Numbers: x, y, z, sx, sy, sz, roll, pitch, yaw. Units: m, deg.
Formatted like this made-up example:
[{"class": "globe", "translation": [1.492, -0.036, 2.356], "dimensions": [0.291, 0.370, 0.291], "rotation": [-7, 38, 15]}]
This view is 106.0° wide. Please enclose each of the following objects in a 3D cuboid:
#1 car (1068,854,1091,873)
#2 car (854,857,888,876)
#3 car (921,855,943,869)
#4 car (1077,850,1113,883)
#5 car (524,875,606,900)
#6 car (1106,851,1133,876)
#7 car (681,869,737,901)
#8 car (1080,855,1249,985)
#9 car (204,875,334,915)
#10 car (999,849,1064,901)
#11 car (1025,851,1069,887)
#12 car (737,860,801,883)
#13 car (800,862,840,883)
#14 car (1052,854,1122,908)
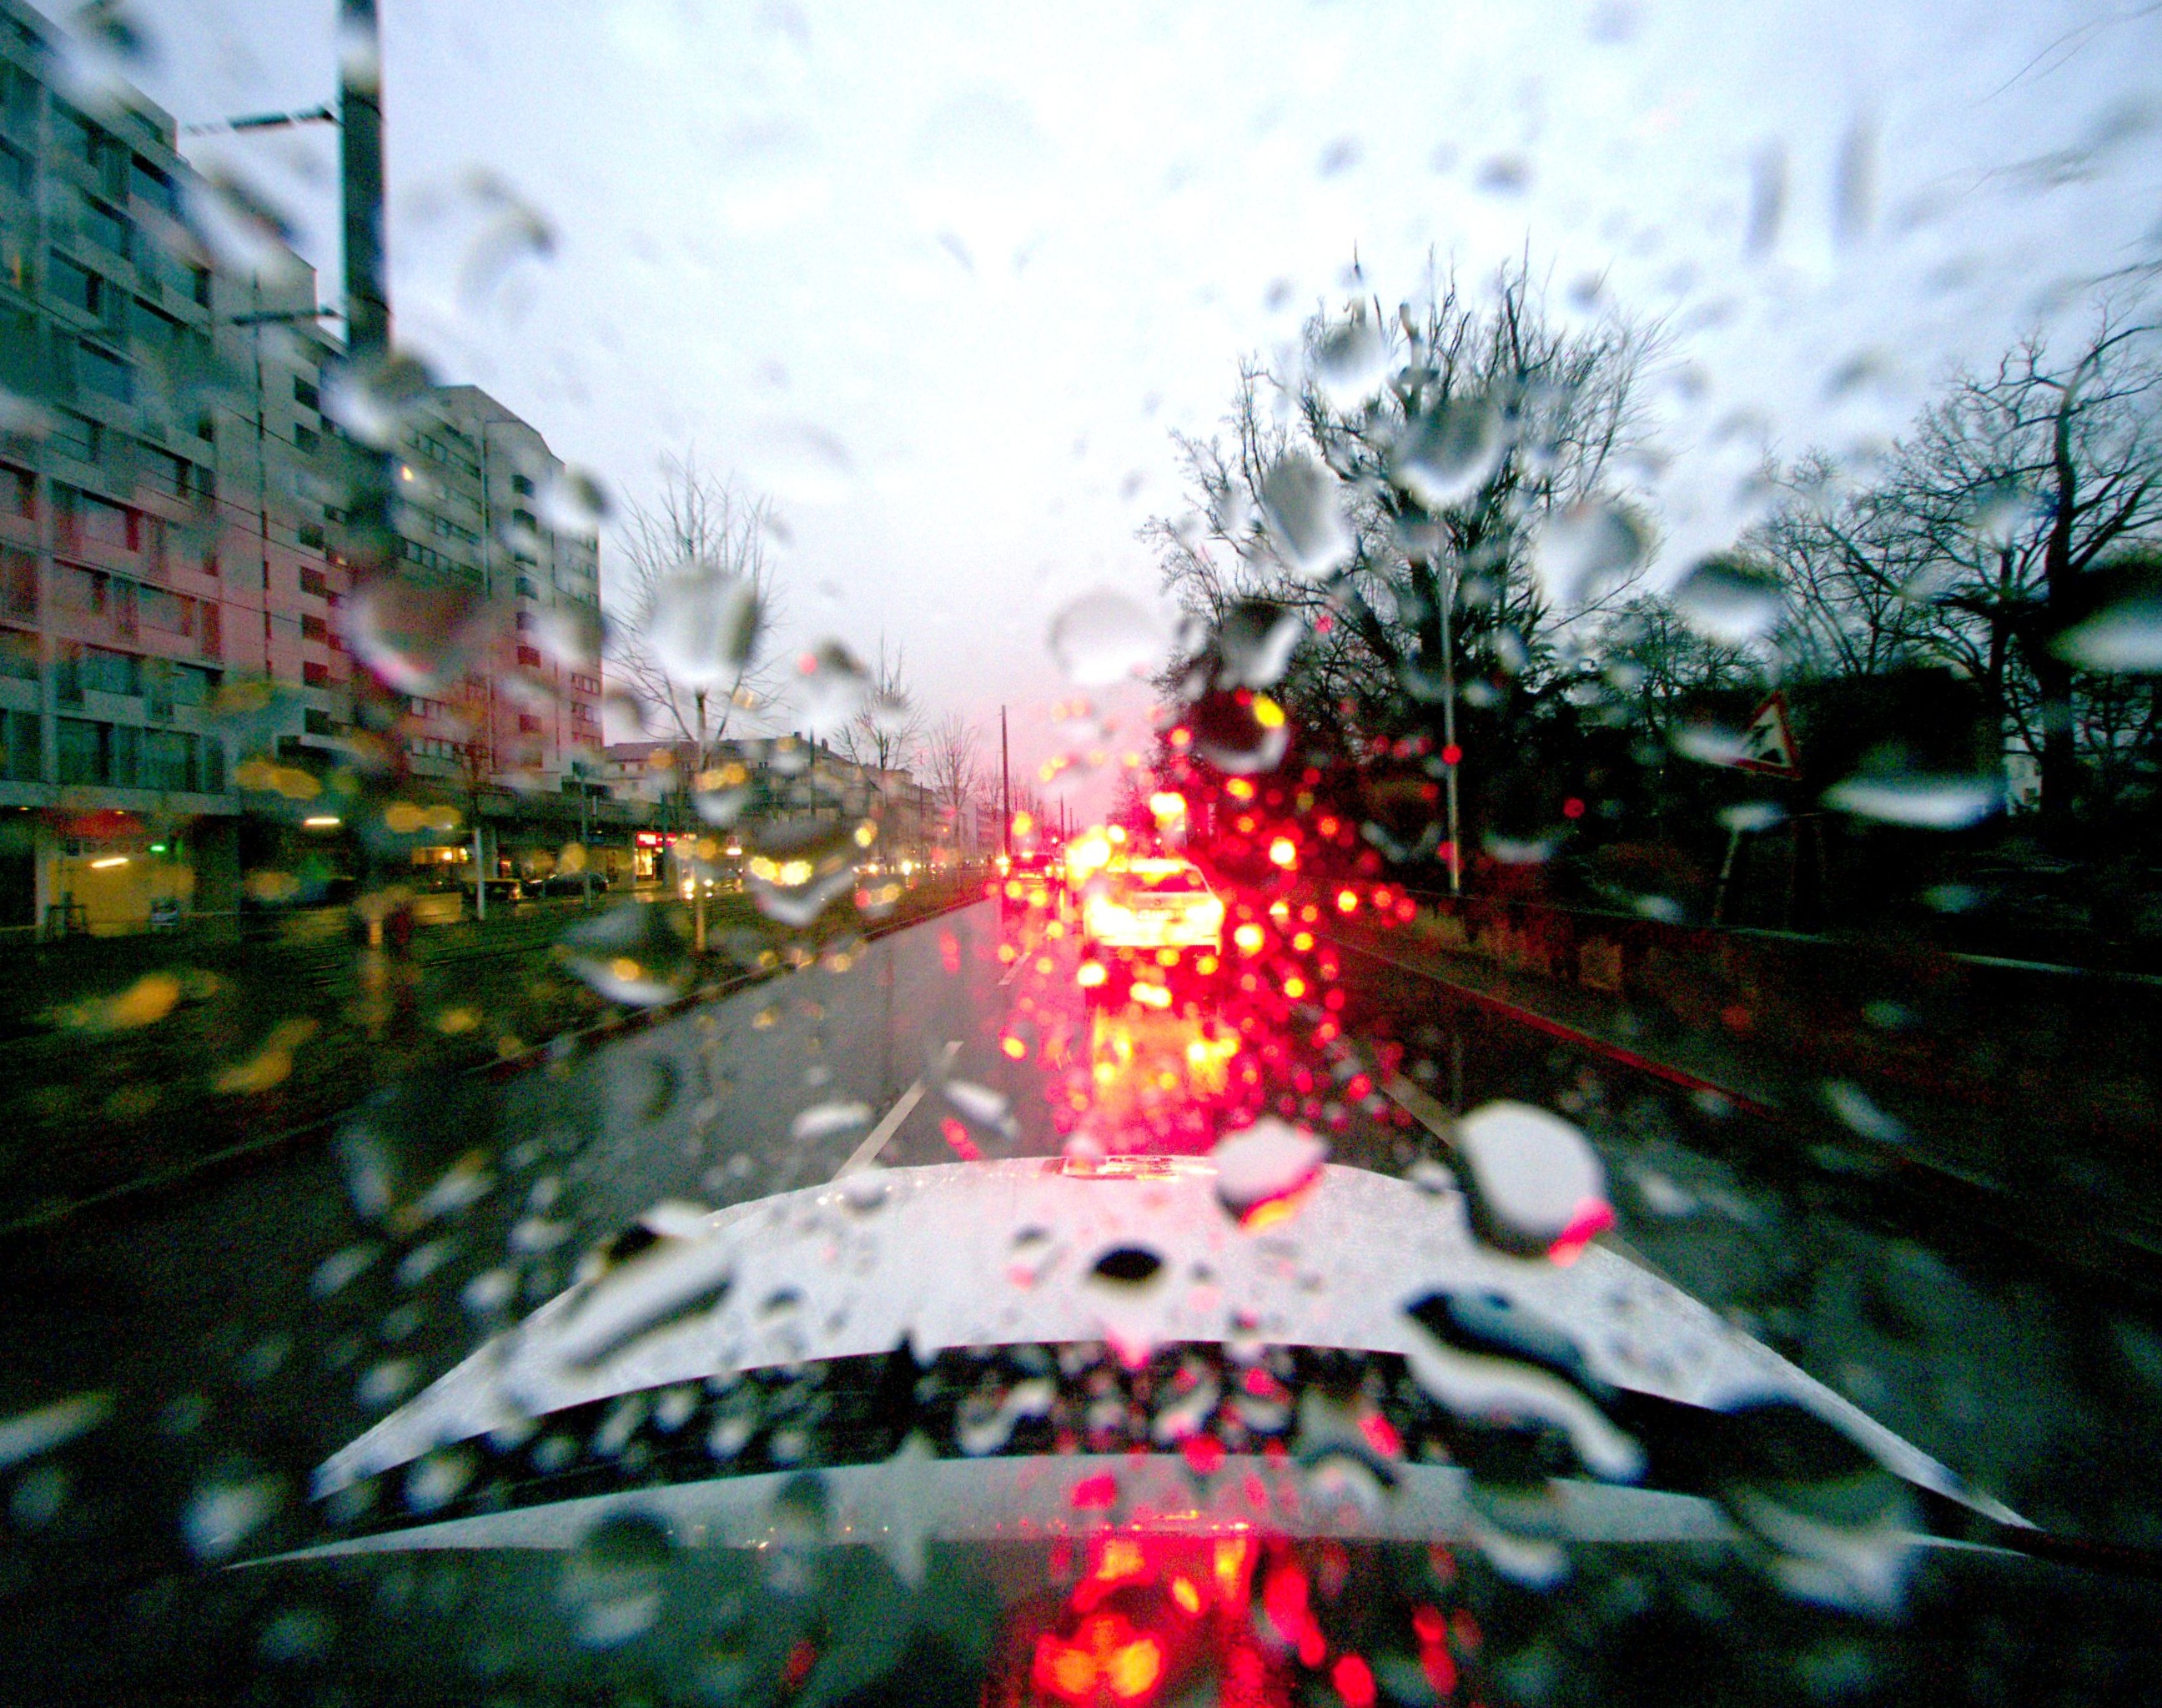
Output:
[{"class": "car", "translation": [-0.105, 0.801, 71.403], "dimensions": [1.799, 1.646, 4.002], "rotation": [-1, 0, 2]}, {"class": "car", "translation": [-19.831, 1.163, 77.086], "dimensions": [1.890, 1.719, 5.116], "rotation": [-2, 0, -1]}, {"class": "car", "translation": [-19.796, 1.053, 108.528], "dimensions": [1.889, 1.719, 4.917], "rotation": [-1, 0, 1]}, {"class": "car", "translation": [0.776, 0.635, 43.339], "dimensions": [1.799, 1.646, 4.002], "rotation": [-1, 0, 2]}, {"class": "car", "translation": [-30.449, 1.958, 48.145], "dimensions": [4.015, 1.387, 1.917], "rotation": [1, -1, -33]}, {"class": "car", "translation": [2.620, 0.629, 55.982], "dimensions": [1.799, 1.646, 4.002], "rotation": [-1, 0, 2]}, {"class": "car", "translation": [-24.319, 1.980, 53.350], "dimensions": [1.716, 1.885, 3.928], "rotation": [-2, 0, 2]}, {"class": "car", "translation": [1.072, 0.793, 11.807], "dimensions": [1.991, 1.508, 4.165], "rotation": [-1, 0, 2]}, {"class": "car", "translation": [-38.441, 1.919, 38.628], "dimensions": [4.347, 1.695, 1.728], "rotation": [-2, 0, -1]}, {"class": "car", "translation": [-1.627, 0.653, 27.809], "dimensions": [1.799, 1.646, 4.002], "rotation": [-1, 0, 2]}, {"class": "car", "translation": [-1.700, 0.734, 41.842], "dimensions": [1.986, 1.755, 4.001], "rotation": [0, 0, 1]}, {"class": "car", "translation": [-29.349, 1.631, 76.775], "dimensions": [5.193, 1.912, 1.975], "rotation": [-2, 0, -43]}, {"class": "car", "translation": [-19.601, 1.391, 61.376], "dimensions": [1.891, 1.431, 3.704], "rotation": [-2, 0, -2]}, {"class": "car", "translation": [0.255, 0.738, 24.648], "dimensions": [1.928, 1.457, 4.165], "rotation": [-1, 0, 2]}]
